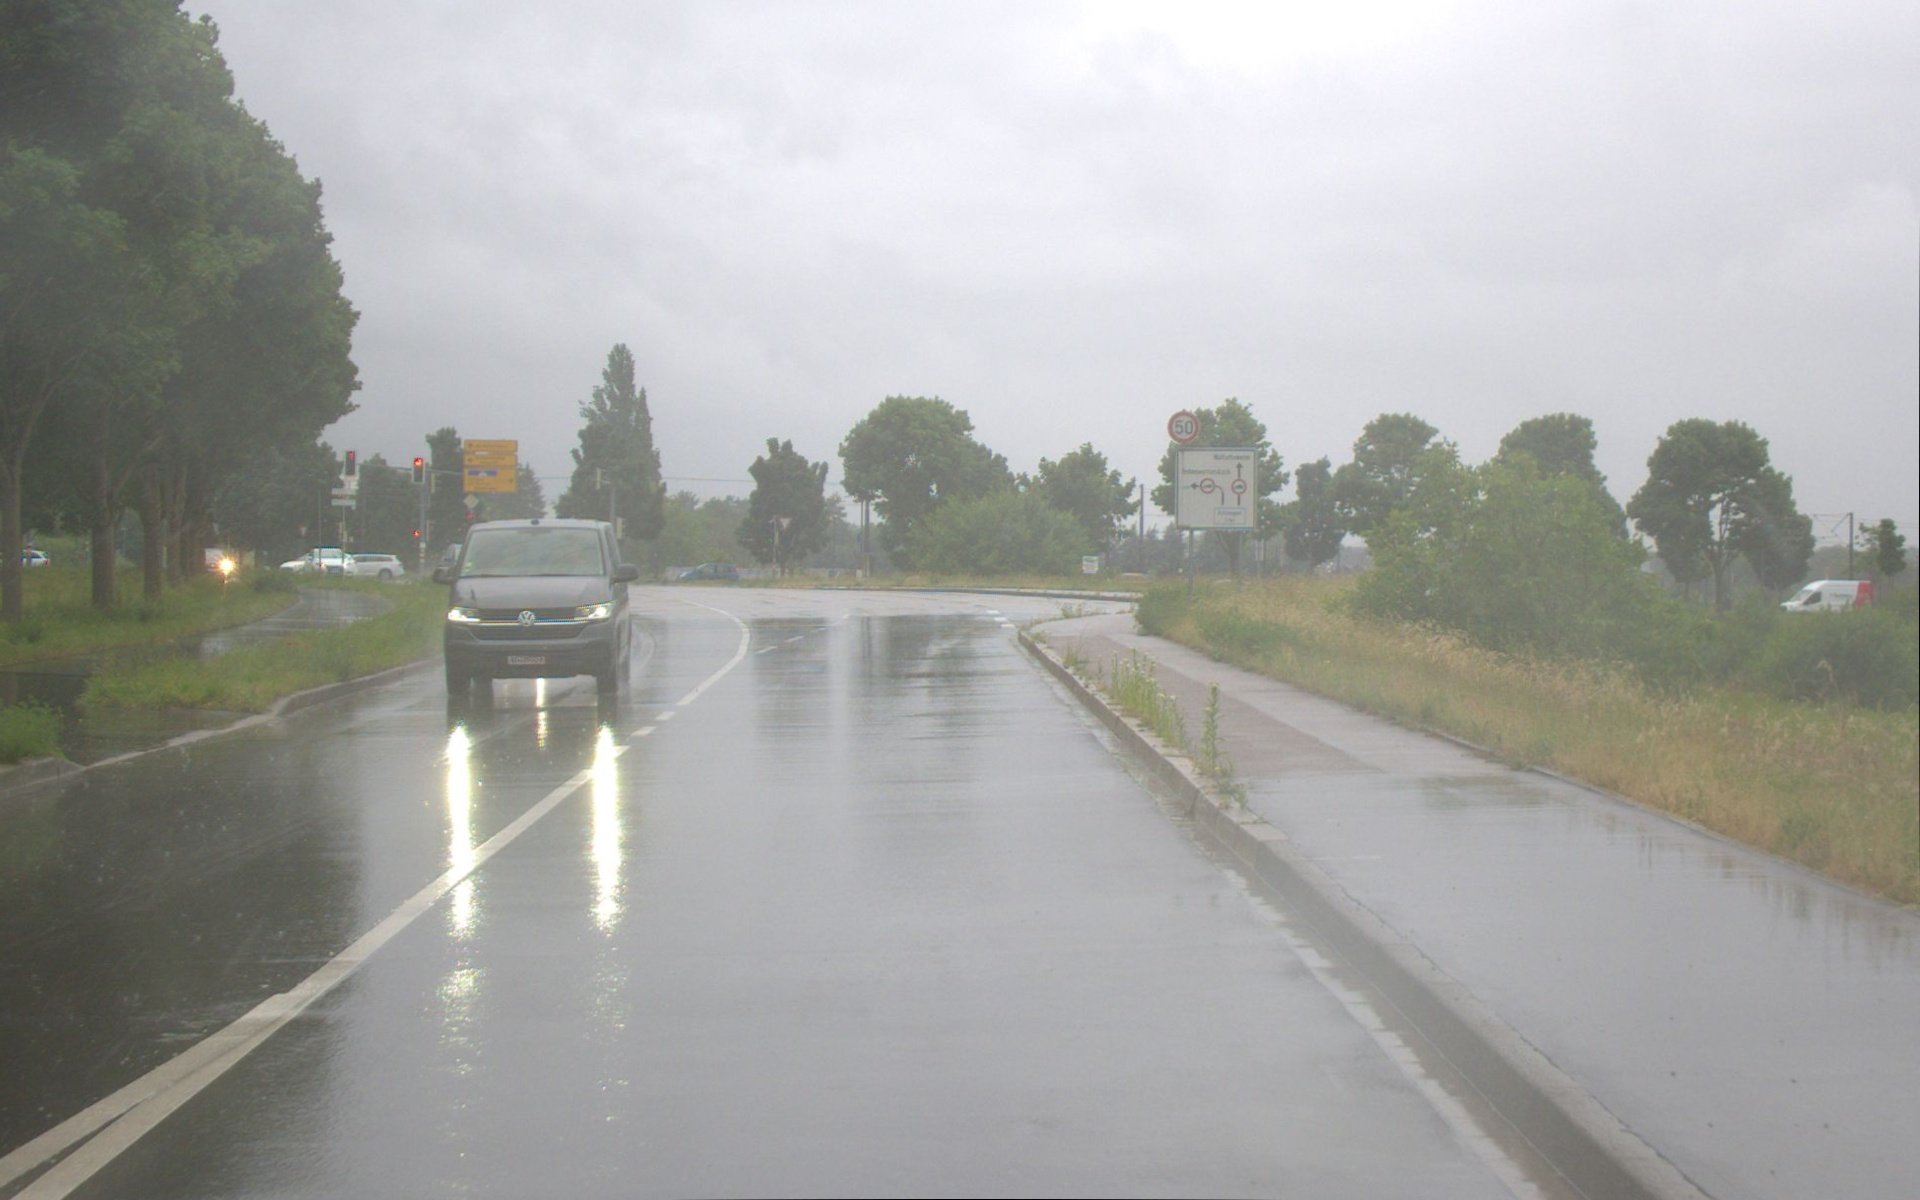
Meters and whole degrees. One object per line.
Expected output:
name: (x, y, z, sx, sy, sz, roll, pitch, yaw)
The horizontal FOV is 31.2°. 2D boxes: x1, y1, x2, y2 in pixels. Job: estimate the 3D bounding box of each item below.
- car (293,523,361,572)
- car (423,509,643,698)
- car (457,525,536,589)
car: (-28.312, -2.342, 153.736, 1.993, 2.007, 4.001, 3, 1, -24)
car: (-4.762, -0.015, 39.026, 1.993, 1.965, 4.957, -1, 1, -2)
car: (-15.335, -1.438, 113.645, 1.993, 2.007, 4.001, 2, 1, -16)
